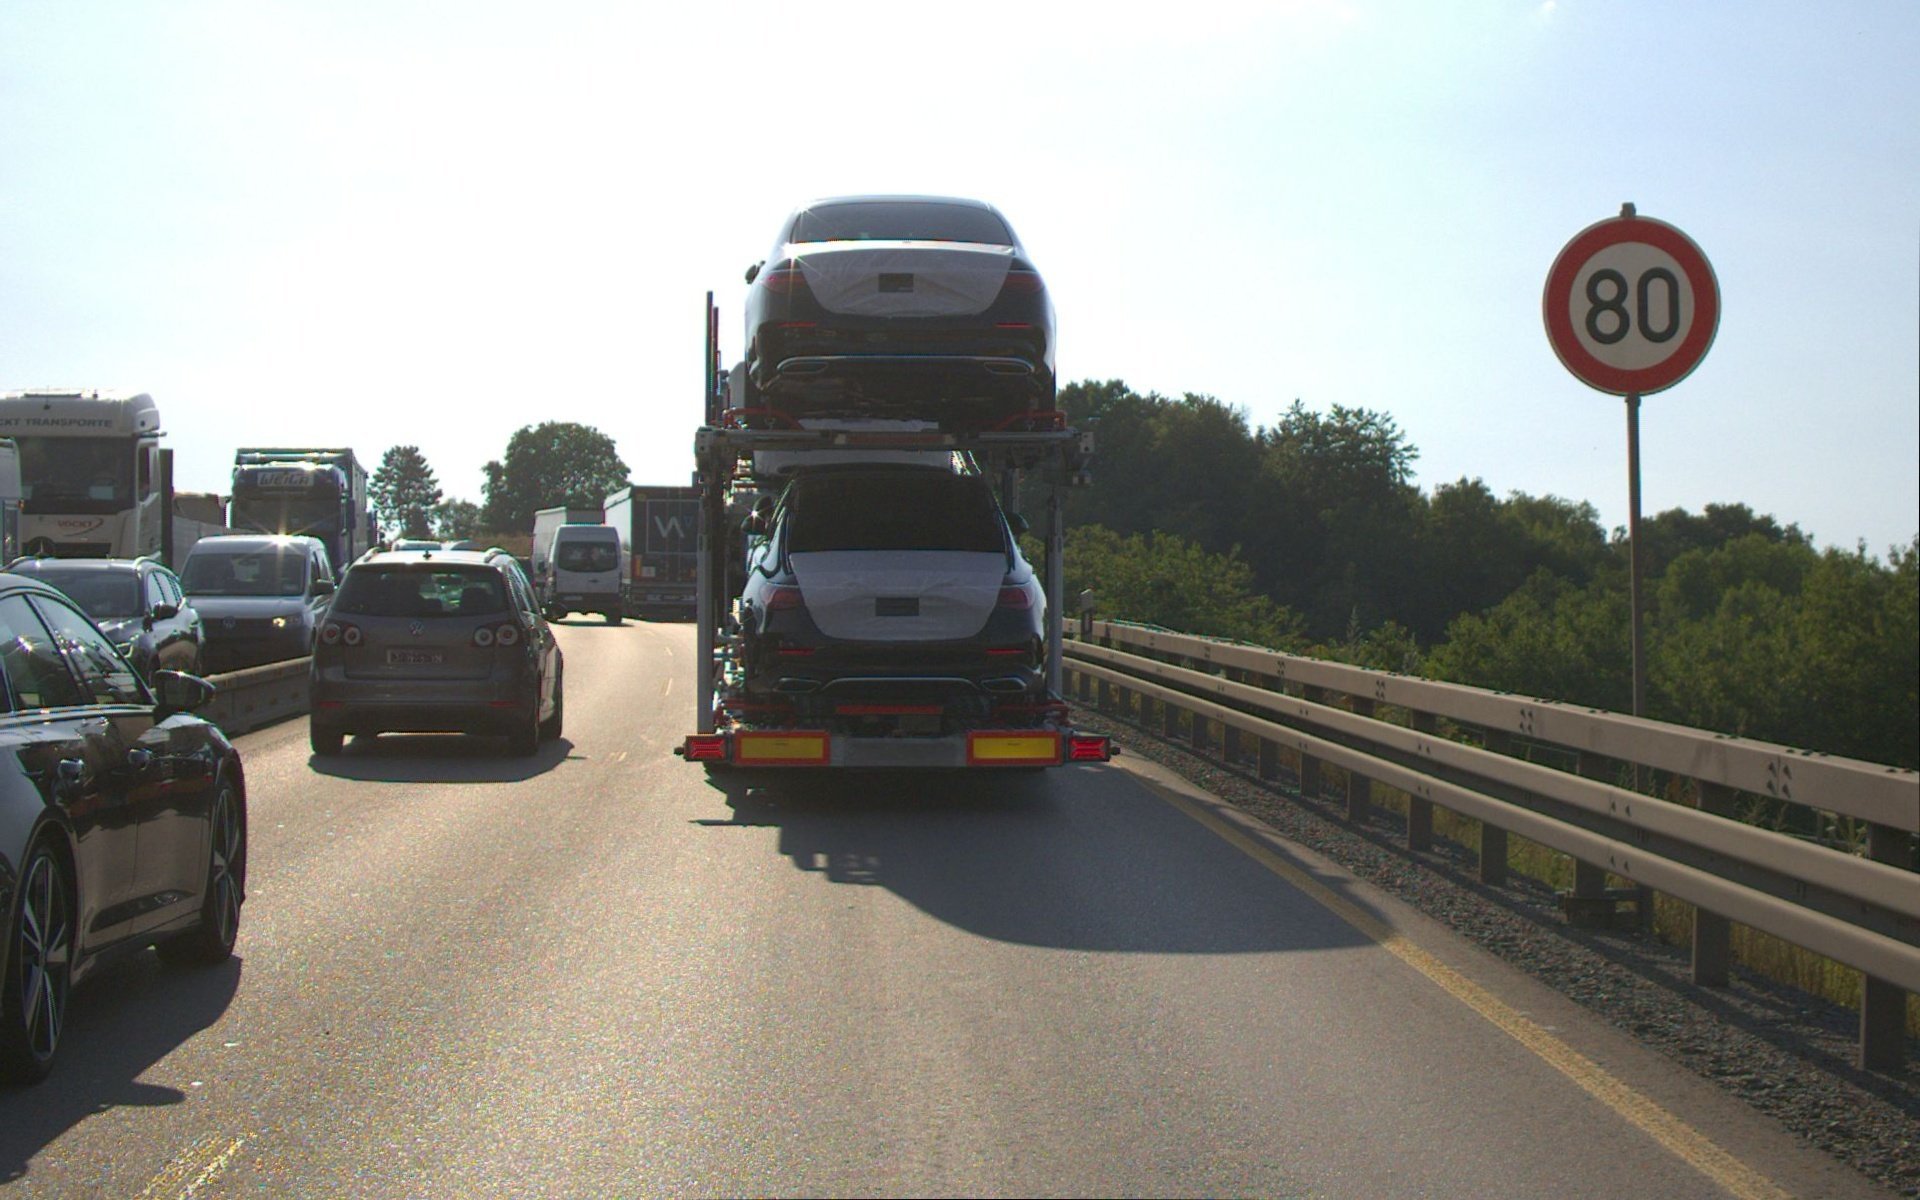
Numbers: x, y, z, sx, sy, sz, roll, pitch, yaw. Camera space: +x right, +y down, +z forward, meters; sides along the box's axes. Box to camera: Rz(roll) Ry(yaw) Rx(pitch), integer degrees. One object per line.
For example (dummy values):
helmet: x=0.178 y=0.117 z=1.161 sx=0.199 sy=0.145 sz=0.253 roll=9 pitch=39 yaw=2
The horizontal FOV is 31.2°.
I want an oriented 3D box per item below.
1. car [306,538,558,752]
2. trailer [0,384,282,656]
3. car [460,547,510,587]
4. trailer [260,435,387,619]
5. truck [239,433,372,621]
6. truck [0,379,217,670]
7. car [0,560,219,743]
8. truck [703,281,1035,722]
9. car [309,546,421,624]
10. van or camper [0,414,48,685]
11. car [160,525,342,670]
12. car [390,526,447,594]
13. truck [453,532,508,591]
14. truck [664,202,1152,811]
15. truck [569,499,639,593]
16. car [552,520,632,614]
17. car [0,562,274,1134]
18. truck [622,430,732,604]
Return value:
car: x=-4.162 y=0.323 z=27.601 sx=1.691 sy=1.590 sz=4.001 roll=0 pitch=0 yaw=-4
trailer: x=-12.595 y=-1.132 z=53.934 sx=2.519 sy=3.712 sz=13.981 roll=0 pitch=0 yaw=-6
car: x=-21.258 y=-1.482 z=153.952 sx=1.826 sy=1.766 sz=4.000 roll=0 pitch=0 yaw=-2
trailer: x=-15.502 y=-1.688 z=84.441 sx=2.306 sy=4.116 sz=14.604 roll=0 pitch=0 yaw=-7
truck: x=-14.584 y=-1.592 z=76.949 sx=2.503 sy=4.052 sz=5.666 roll=0 pitch=0 yaw=-6
truck: x=-12.051 y=-0.991 z=47.591 sx=2.600 sy=3.741 sz=6.518 roll=0 pitch=0 yaw=-5
car: x=-7.688 y=0.398 z=29.926 sx=1.680 sy=1.474 sz=4.603 roll=0 pitch=0 yaw=-3
truck: x=-1.150 y=-0.873 z=34.527 sx=2.837 sy=3.779 sz=9.988 roll=0 pitch=0 yaw=-4
car: x=-11.787 y=-0.302 z=68.320 sx=1.793 sy=1.506 sz=4.587 roll=0 pitch=0 yaw=-5
van or camper: x=-11.342 y=-0.530 z=35.281 sx=2.408 sy=2.881 sz=7.619 roll=0 pitch=0 yaw=-4
car: x=-8.638 y=-0.042 z=42.170 sx=1.756 sy=1.689 sz=4.454 roll=0 pitch=0 yaw=-6
car: x=-20.422 y=-1.479 z=129.844 sx=2.056 sy=2.491 sz=6.777 roll=0 pitch=0 yaw=-8
truck: x=-26.043 y=-2.059 z=186.975 sx=2.590 sy=3.159 sz=6.678 roll=0 pitch=0 yaw=-5
truck: x=-0.589 y=-0.568 z=25.039 sx=2.799 sy=3.485 sz=10.606 roll=0 pitch=0 yaw=-3
truck: x=-14.213 y=-2.113 z=137.742 sx=2.530 sy=3.635 sz=8.907 roll=0 pitch=0 yaw=-4
car: x=-10.034 y=-0.894 z=94.016 sx=1.920 sy=2.484 sz=5.409 roll=0 pitch=0 yaw=-3
car: x=-3.494 y=0.589 z=10.873 sx=1.934 sy=1.394 sz=4.961 roll=0 pitch=1 yaw=-3
truck: x=-8.978 y=-2.518 z=108.231 sx=3.285 sy=5.219 sz=9.937 roll=0 pitch=0 yaw=-5
